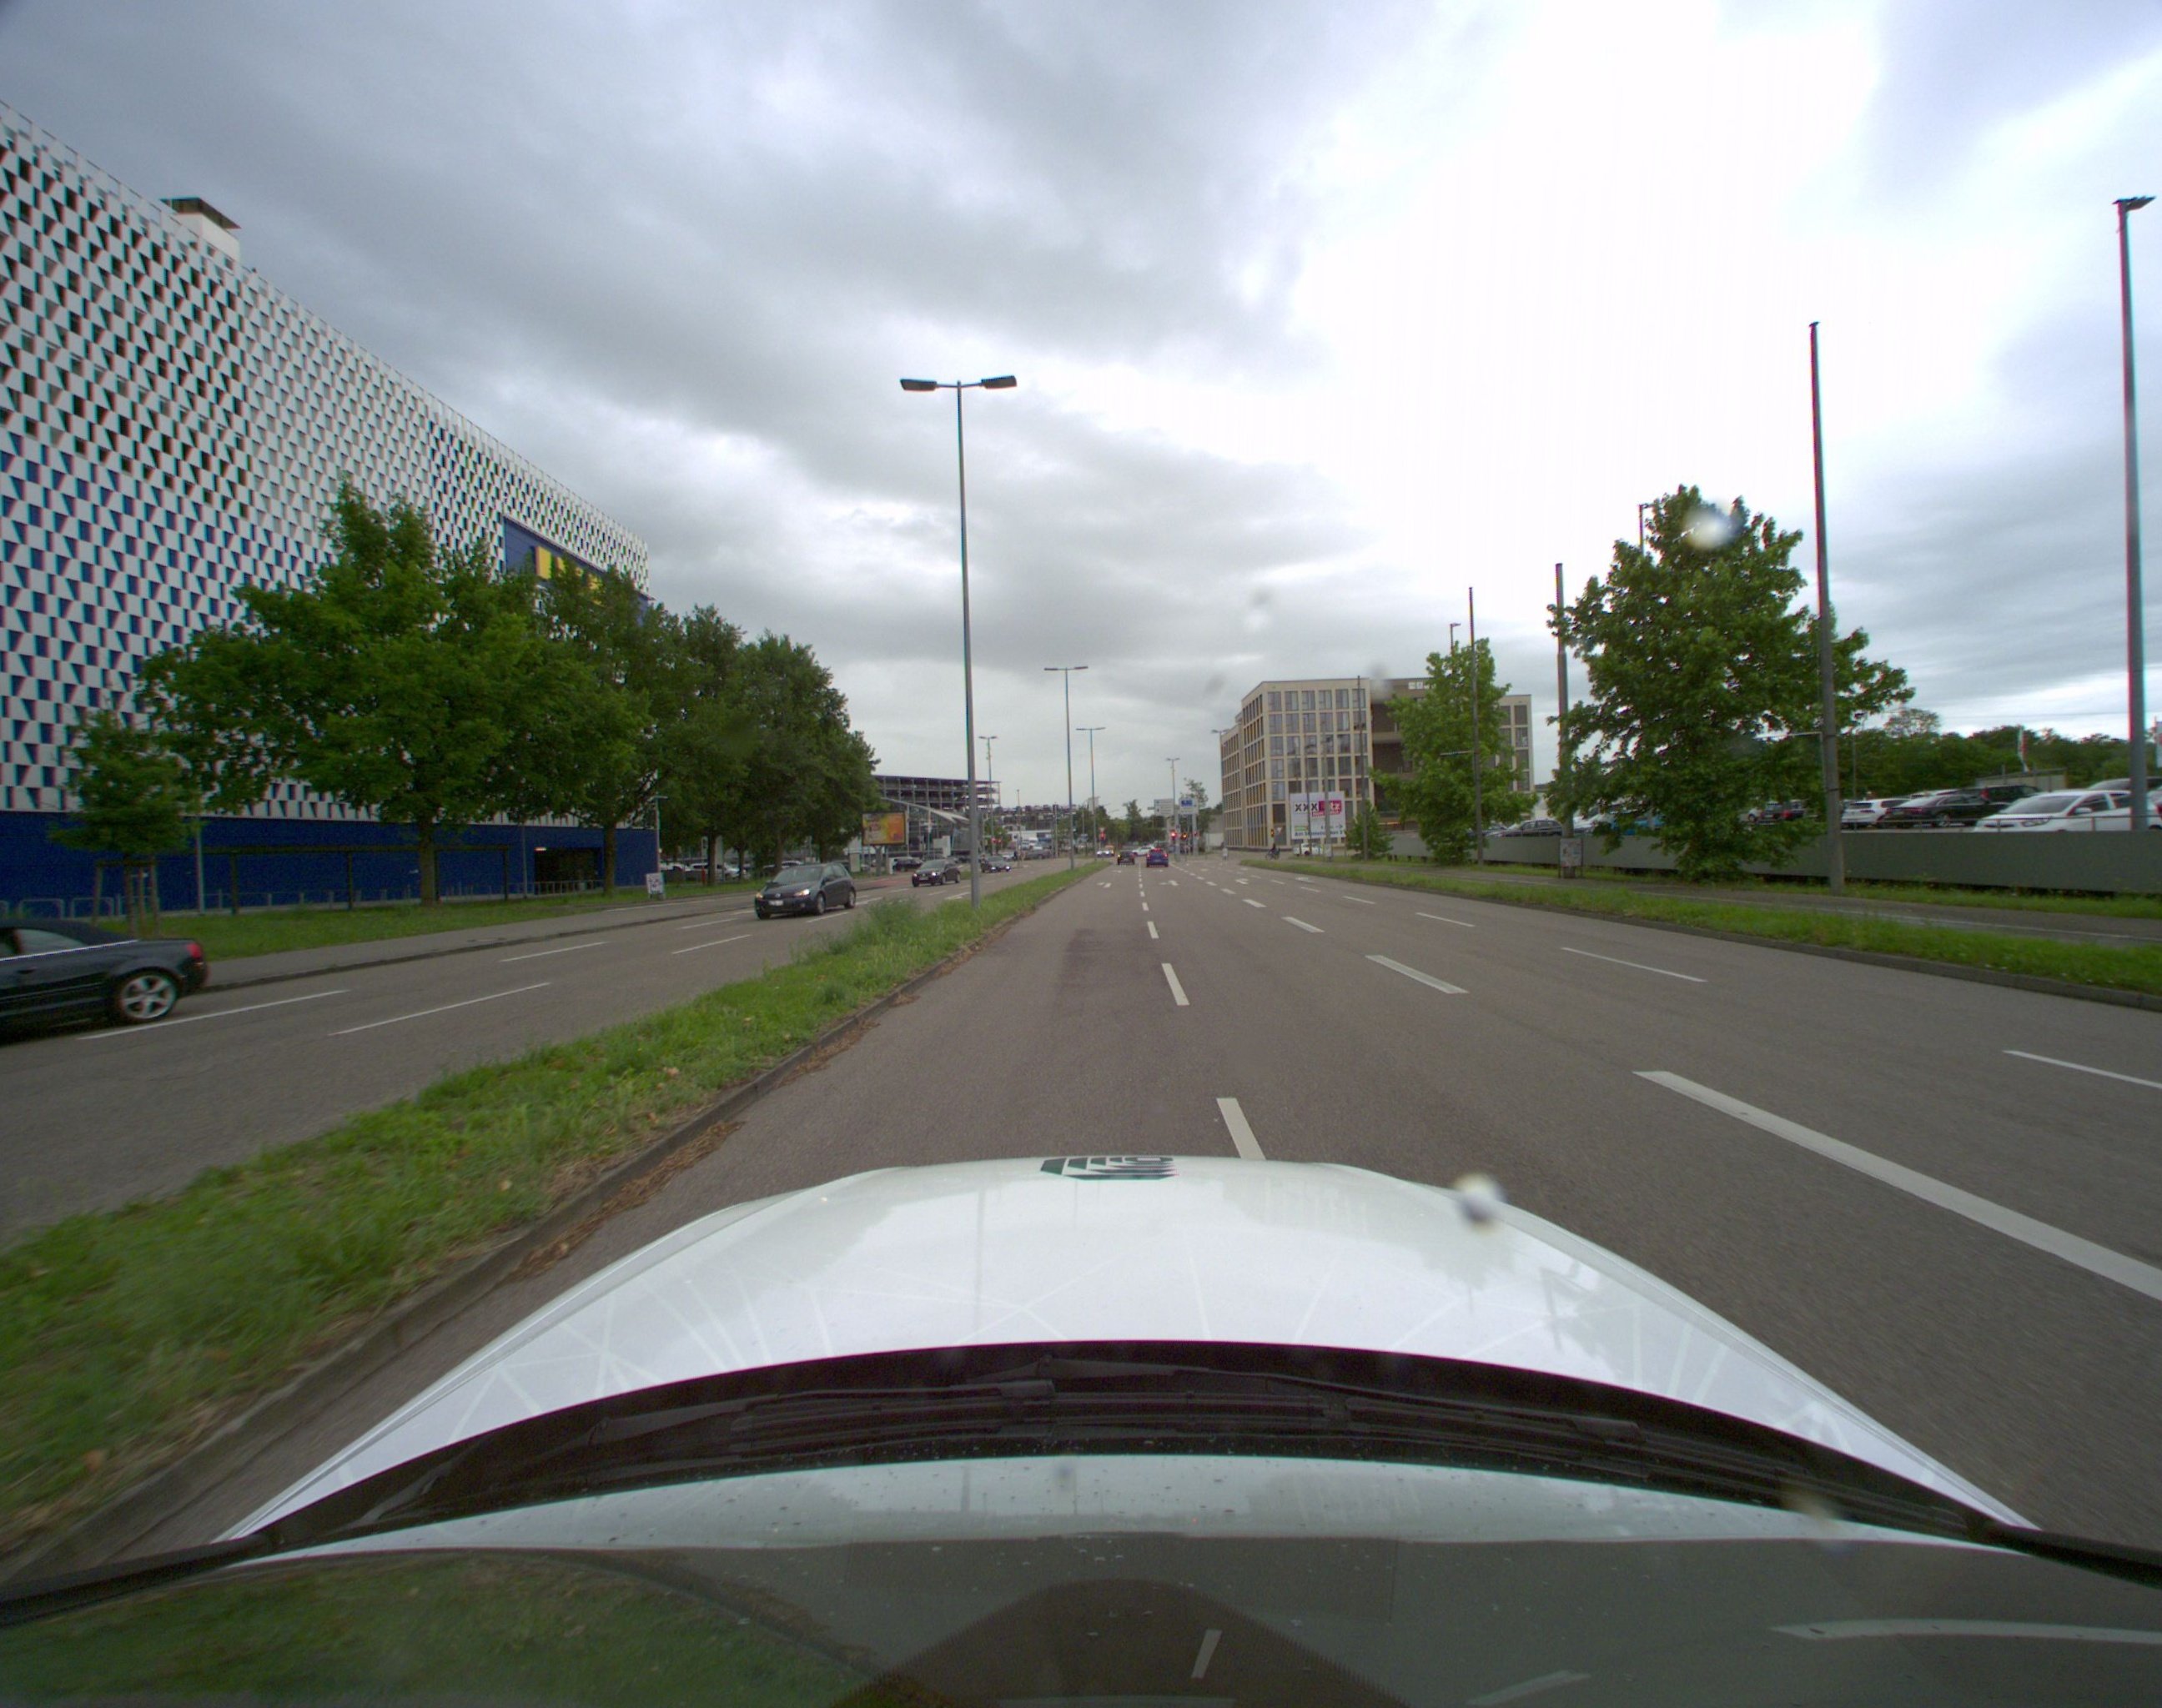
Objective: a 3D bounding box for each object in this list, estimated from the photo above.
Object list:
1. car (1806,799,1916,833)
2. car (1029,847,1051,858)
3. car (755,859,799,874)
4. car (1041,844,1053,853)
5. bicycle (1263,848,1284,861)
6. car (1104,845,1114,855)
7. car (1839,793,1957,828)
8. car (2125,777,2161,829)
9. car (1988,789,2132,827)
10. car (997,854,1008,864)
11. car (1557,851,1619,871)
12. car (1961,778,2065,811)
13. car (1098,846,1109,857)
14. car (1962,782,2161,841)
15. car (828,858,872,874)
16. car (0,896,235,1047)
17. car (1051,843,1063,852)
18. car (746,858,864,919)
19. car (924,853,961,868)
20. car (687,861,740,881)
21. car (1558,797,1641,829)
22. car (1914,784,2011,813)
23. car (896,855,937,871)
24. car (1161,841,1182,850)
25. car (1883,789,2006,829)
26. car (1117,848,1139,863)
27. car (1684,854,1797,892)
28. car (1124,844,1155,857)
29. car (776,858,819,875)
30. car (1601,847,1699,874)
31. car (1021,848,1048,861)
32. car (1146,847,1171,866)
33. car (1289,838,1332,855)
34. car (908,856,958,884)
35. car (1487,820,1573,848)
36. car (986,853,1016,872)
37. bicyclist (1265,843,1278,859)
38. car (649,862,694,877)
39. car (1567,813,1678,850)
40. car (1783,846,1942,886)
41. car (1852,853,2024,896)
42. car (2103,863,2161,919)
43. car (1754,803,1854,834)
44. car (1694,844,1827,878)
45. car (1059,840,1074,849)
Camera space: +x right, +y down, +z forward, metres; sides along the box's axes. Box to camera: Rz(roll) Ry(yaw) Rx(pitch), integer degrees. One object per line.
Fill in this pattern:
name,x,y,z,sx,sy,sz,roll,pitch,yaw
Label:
car,40.147,-1.942,41.974,3.824,1.507,1.787,-2,1,5
car,-6.860,-0.264,135.538,3.595,1.667,1.548,-2,2,-2
car,-35.278,1.444,94.556,4.215,1.512,1.993,-2,1,-1
car,-7.090,-1.195,168.887,1.766,1.705,3.926,-2,2,8
bicycle,19.109,0.069,80.832,0.705,1.295,1.990,-2,1,-33
car,4.671,-0.730,136.313,1.594,1.453,3.328,-2,2,3
car,39.958,-2.106,39.903,3.825,1.507,1.786,-3,1,4
car,35.278,-1.667,24.757,4.348,1.591,2.003,-3,2,4
car,39.277,-1.849,32.758,3.616,1.356,1.703,-2,2,4
car,-11.551,0.664,120.004,1.372,1.326,3.023,-2,2,-11
car,37.299,0.482,59.917,3.604,1.285,1.461,-2,2,4
car,50.530,-3.210,44.227,3.613,1.555,1.604,-2,2,6
car,3.614,-0.382,128.204,1.594,1.453,3.328,-2,2,3
car,24.442,-1.047,20.245,3.506,1.307,1.605,-2,2,-3
car,-26.689,1.374,94.191,4.534,1.659,1.997,-3,1,-4
car,-12.126,1.331,8.495,1.764,1.452,4.409,-4,0,3
car,-4.910,-1.272,168.830,1.766,1.705,3.926,-2,2,8
car,-7.863,0.932,23.638,1.773,1.455,4.185,-4,0,2
car,-17.174,0.765,101.229,4.400,1.643,1.995,-2,2,-8
car,-42.338,1.942,93.971,5.117,1.963,1.880,-2,3,-1
car,40.110,-3.178,63.109,4.986,2.210,2.169,-2,2,6
car,51.049,-3.183,47.214,3.613,1.495,1.704,-2,2,6
car,-19.065,1.062,94.538,4.407,1.660,1.997,-2,0,-4
car,17.171,-1.610,154.689,3.571,1.478,1.770,-1,2,23
car,39.186,-2.014,37.030,3.613,1.632,1.704,-2,2,6
car,4.582,0.168,80.237,1.980,1.428,4.242,-2,-1,1
car,35.221,0.996,43.575,4.348,1.832,2.002,-1,0,4
car,7.960,-0.491,111.478,3.938,1.567,1.756,-2,2,-6
car,-33.914,1.451,97.464,4.422,1.711,1.999,-2,4,-3
car,30.793,0.357,44.185,4.037,1.350,1.765,-2,0,2
car,-7.144,0.009,124.840,3.976,1.790,1.846,-2,2,-2
car,6.413,0.194,67.501,1.827,1.514,4.003,-1,1,3
car,25.213,-0.797,89.521,4.180,1.752,1.987,-2,0,-20
car,-8.311,0.882,46.184,1.924,1.455,4.183,-2,0,1
car,25.040,-1.107,45.539,3.859,1.384,1.721,-2,2,0
car,-7.100,0.722,72.802,1.782,1.479,4.538,-4,0,5
bicyclist,18.982,-0.283,81.021,0.705,1.504,0.990,-2,1,-33
car,-48.835,1.864,97.214,4.215,1.504,1.993,-2,1,-1
car,25.303,-1.060,38.127,4.057,1.524,1.811,-2,2,-2
car,24.194,0.366,25.299,3.500,1.131,1.455,-2,0,2
car,29.865,0.705,28.488,4.037,1.350,1.765,-2,0,3
car,29.495,0.916,21.001,4.040,1.350,1.764,-2,0,0
car,40.119,-1.958,45.250,3.824,1.507,1.787,-2,1,5
car,24.500,0.241,29.440,3.500,1.131,1.516,-2,0,2
car,-3.132,-2.111,178.809,3.285,1.640,1.480,-2,2,0
